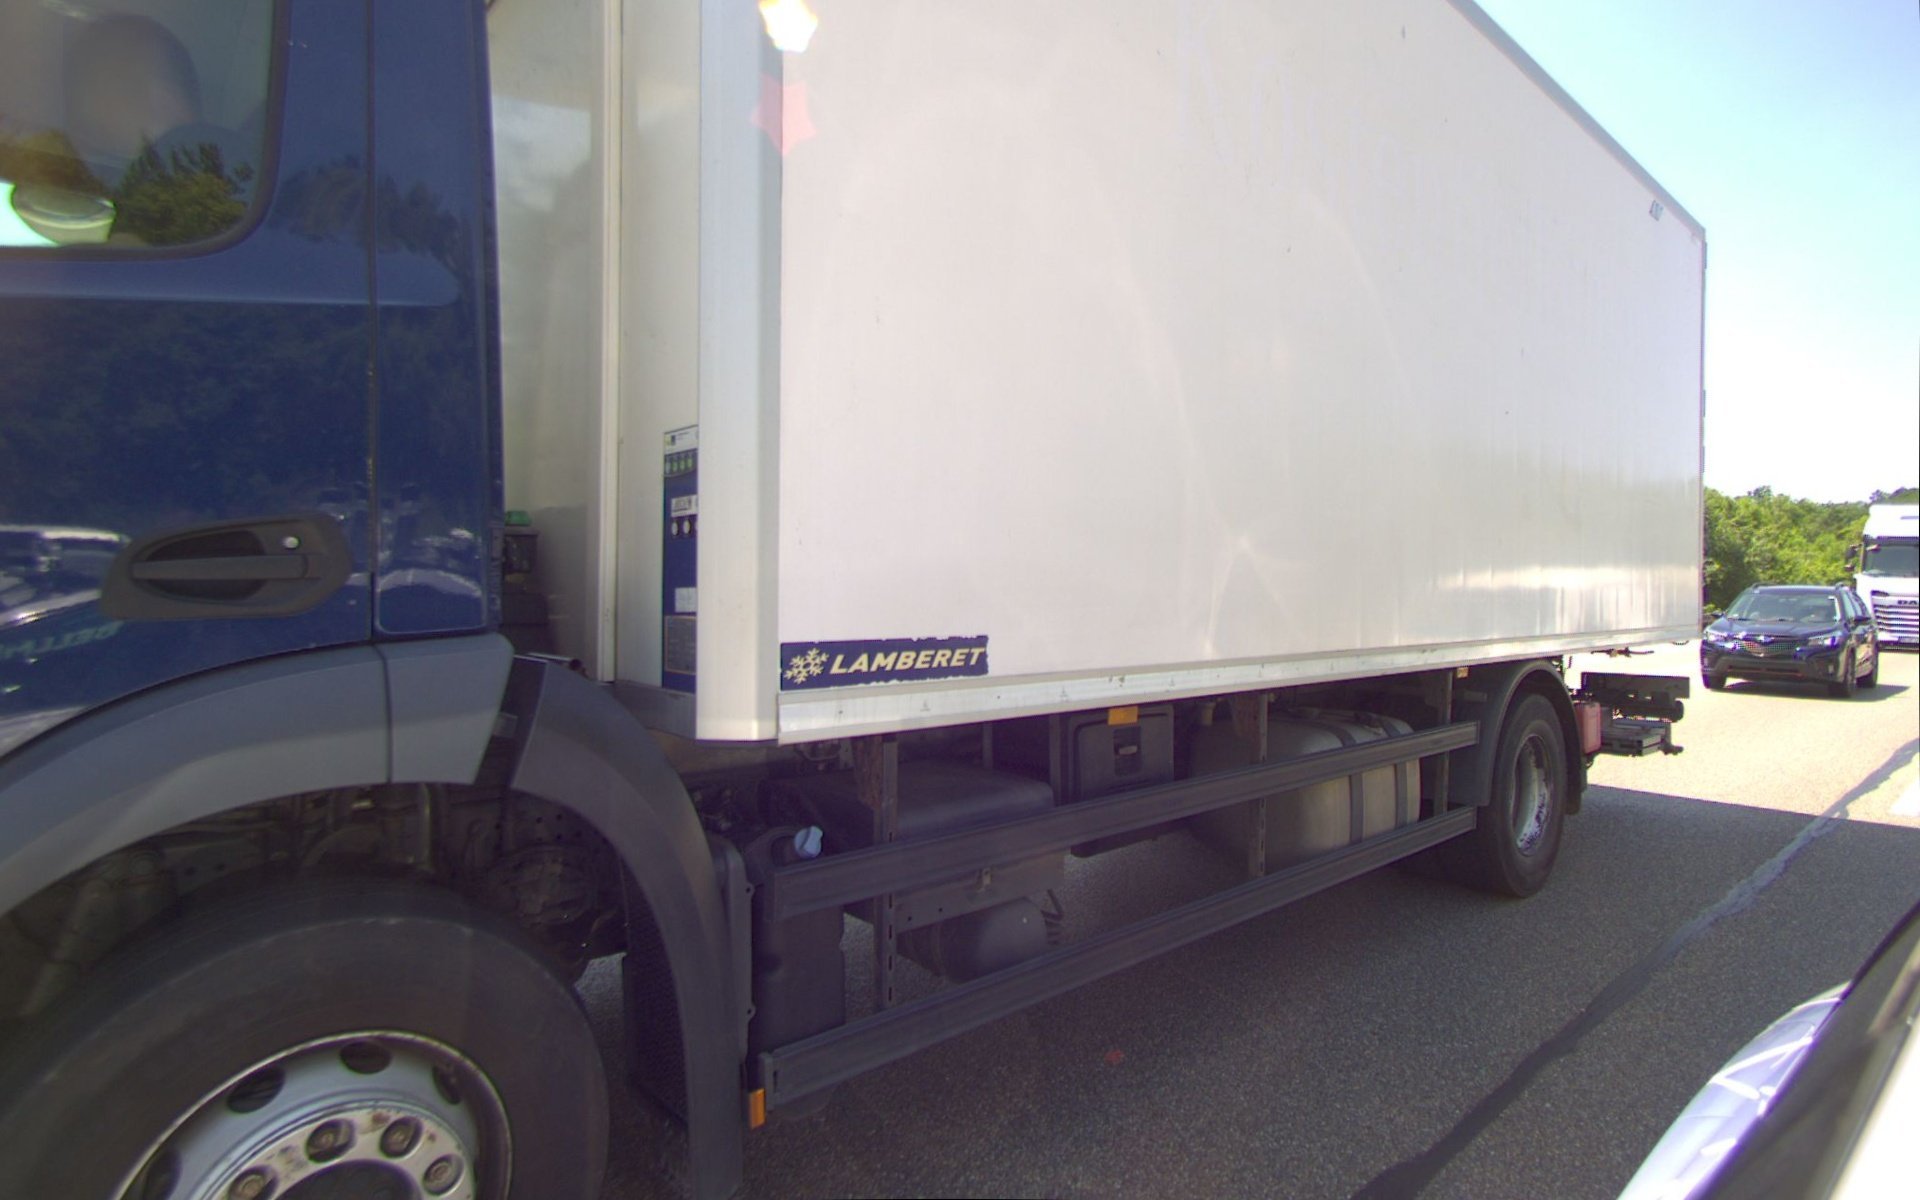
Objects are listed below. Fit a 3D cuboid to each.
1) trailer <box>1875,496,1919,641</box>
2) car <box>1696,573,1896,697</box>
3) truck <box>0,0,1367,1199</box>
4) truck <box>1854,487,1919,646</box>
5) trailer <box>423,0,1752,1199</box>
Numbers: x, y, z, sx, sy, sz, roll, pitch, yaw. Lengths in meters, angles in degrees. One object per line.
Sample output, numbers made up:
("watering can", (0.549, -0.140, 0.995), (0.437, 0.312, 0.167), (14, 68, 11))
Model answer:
("trailer", (31.938, -0.978, 32.276), (11.418, 4.133, 2.765), (-1, 3, -42))
("car", (13.745, 0.433, 16.540), (4.535, 1.713, 1.996), (-1, 3, -44))
("truck", (-1.117, -0.056, 2.791), (4.032, 2.976, 2.561), (-1, 2, -40))
("truck", (27.793, -0.938, 28.686), (7.207, 4.135, 2.764), (-1, 1, -41))
("trailer", (1.745, -0.133, 5.359), (7.746, 2.935, 2.559), (0, 1, -42))
